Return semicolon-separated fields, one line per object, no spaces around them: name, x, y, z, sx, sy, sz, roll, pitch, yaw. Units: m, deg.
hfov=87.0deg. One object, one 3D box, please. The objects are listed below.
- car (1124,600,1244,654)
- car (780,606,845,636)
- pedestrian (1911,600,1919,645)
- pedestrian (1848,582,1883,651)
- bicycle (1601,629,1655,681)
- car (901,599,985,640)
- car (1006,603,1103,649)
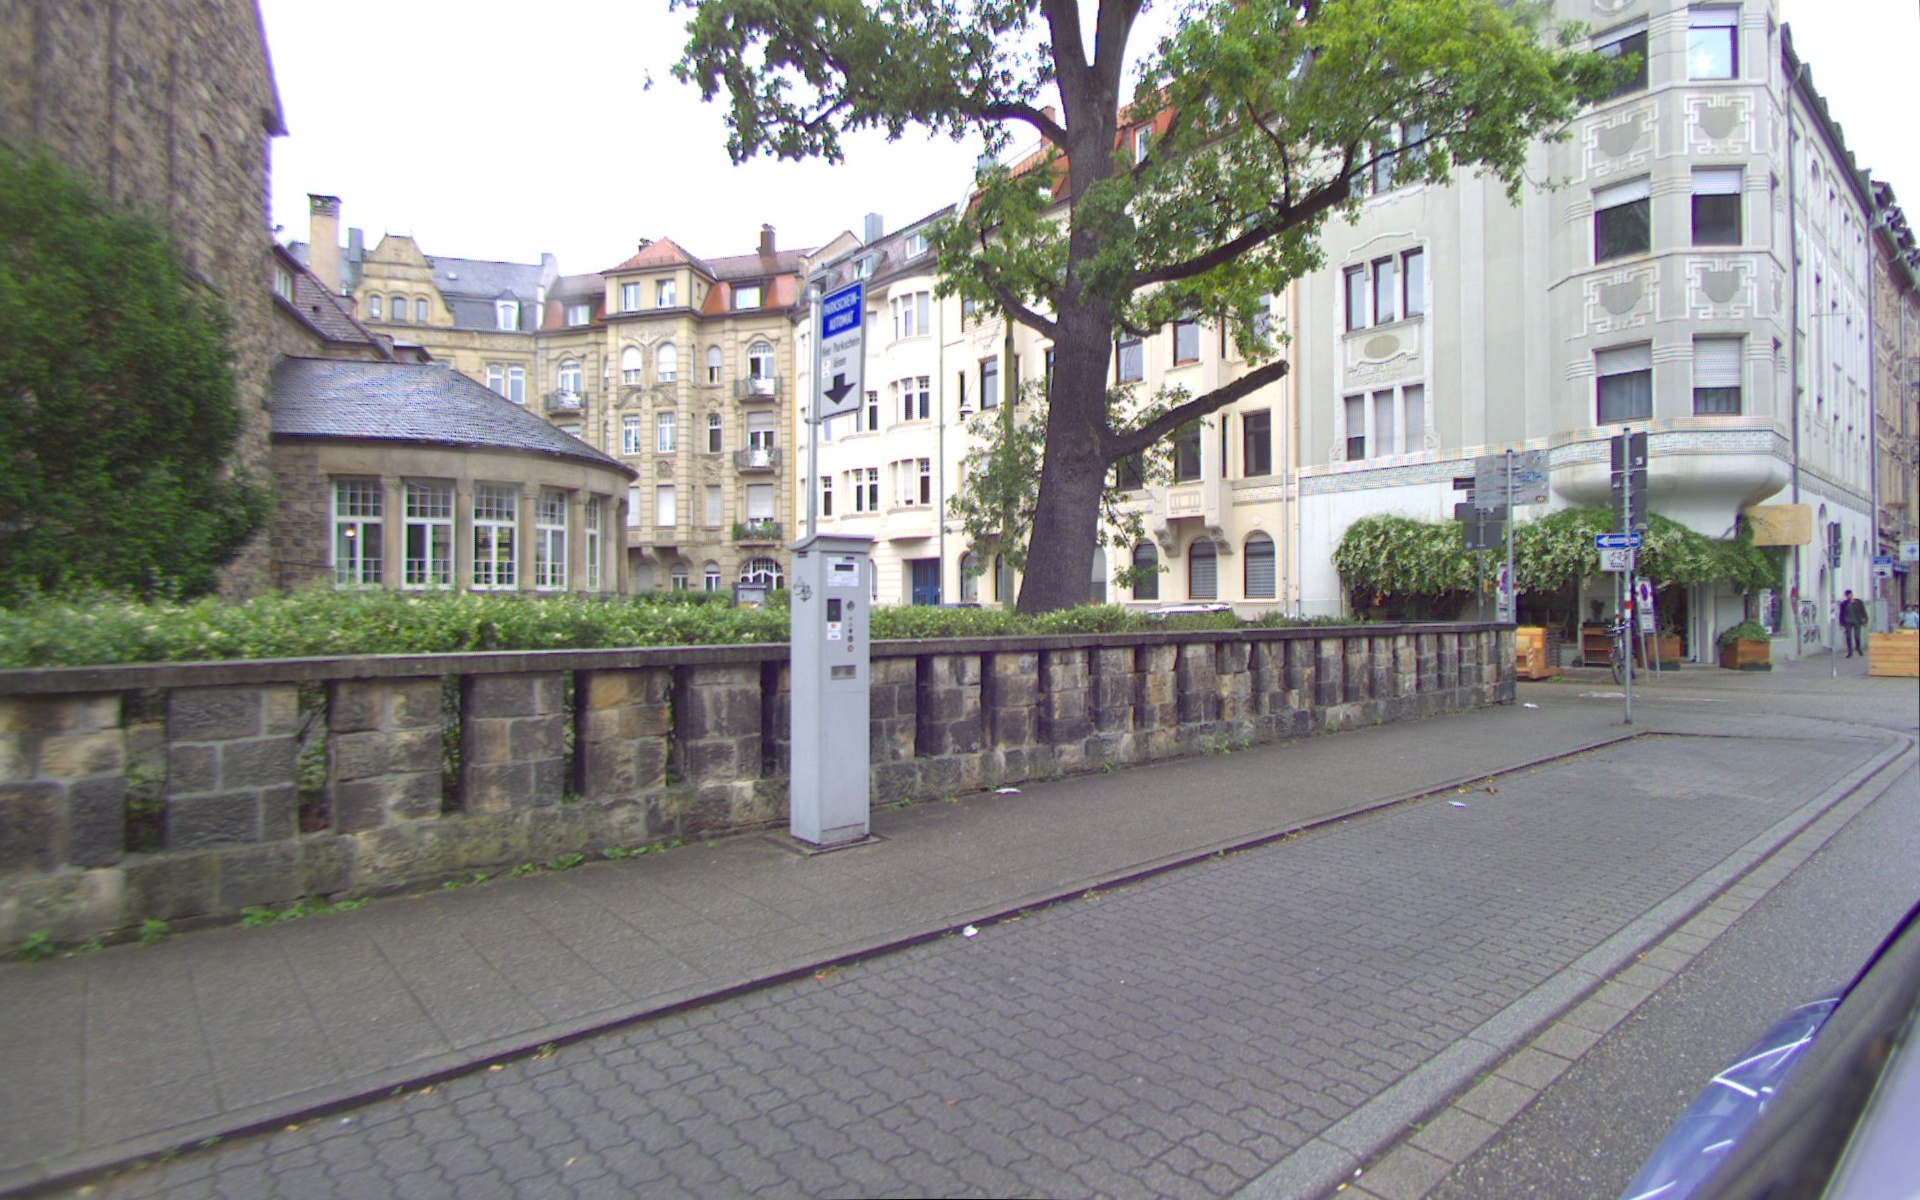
car;6.433;0.729;29.309;1.421;1.427;3.271;0;0;-37
car;-6.467;0.876;44.112;1.421;1.208;3.271;0;0;-37
pedestrian;31.900;0.740;33.552;0.385;1.479;0.482;1;0;-40
pedestrian;25.399;0.451;28.398;0.681;1.896;0.645;1;0;-41
bicycle;13.587;1.093;20.551;1.989;0.904;0.390;-3;2;-41
car;-0.666;0.681;37.268;1.421;1.427;3.271;0;0;-37
car;3.130;0.832;33.891;1.421;1.427;3.271;0;0;-37
